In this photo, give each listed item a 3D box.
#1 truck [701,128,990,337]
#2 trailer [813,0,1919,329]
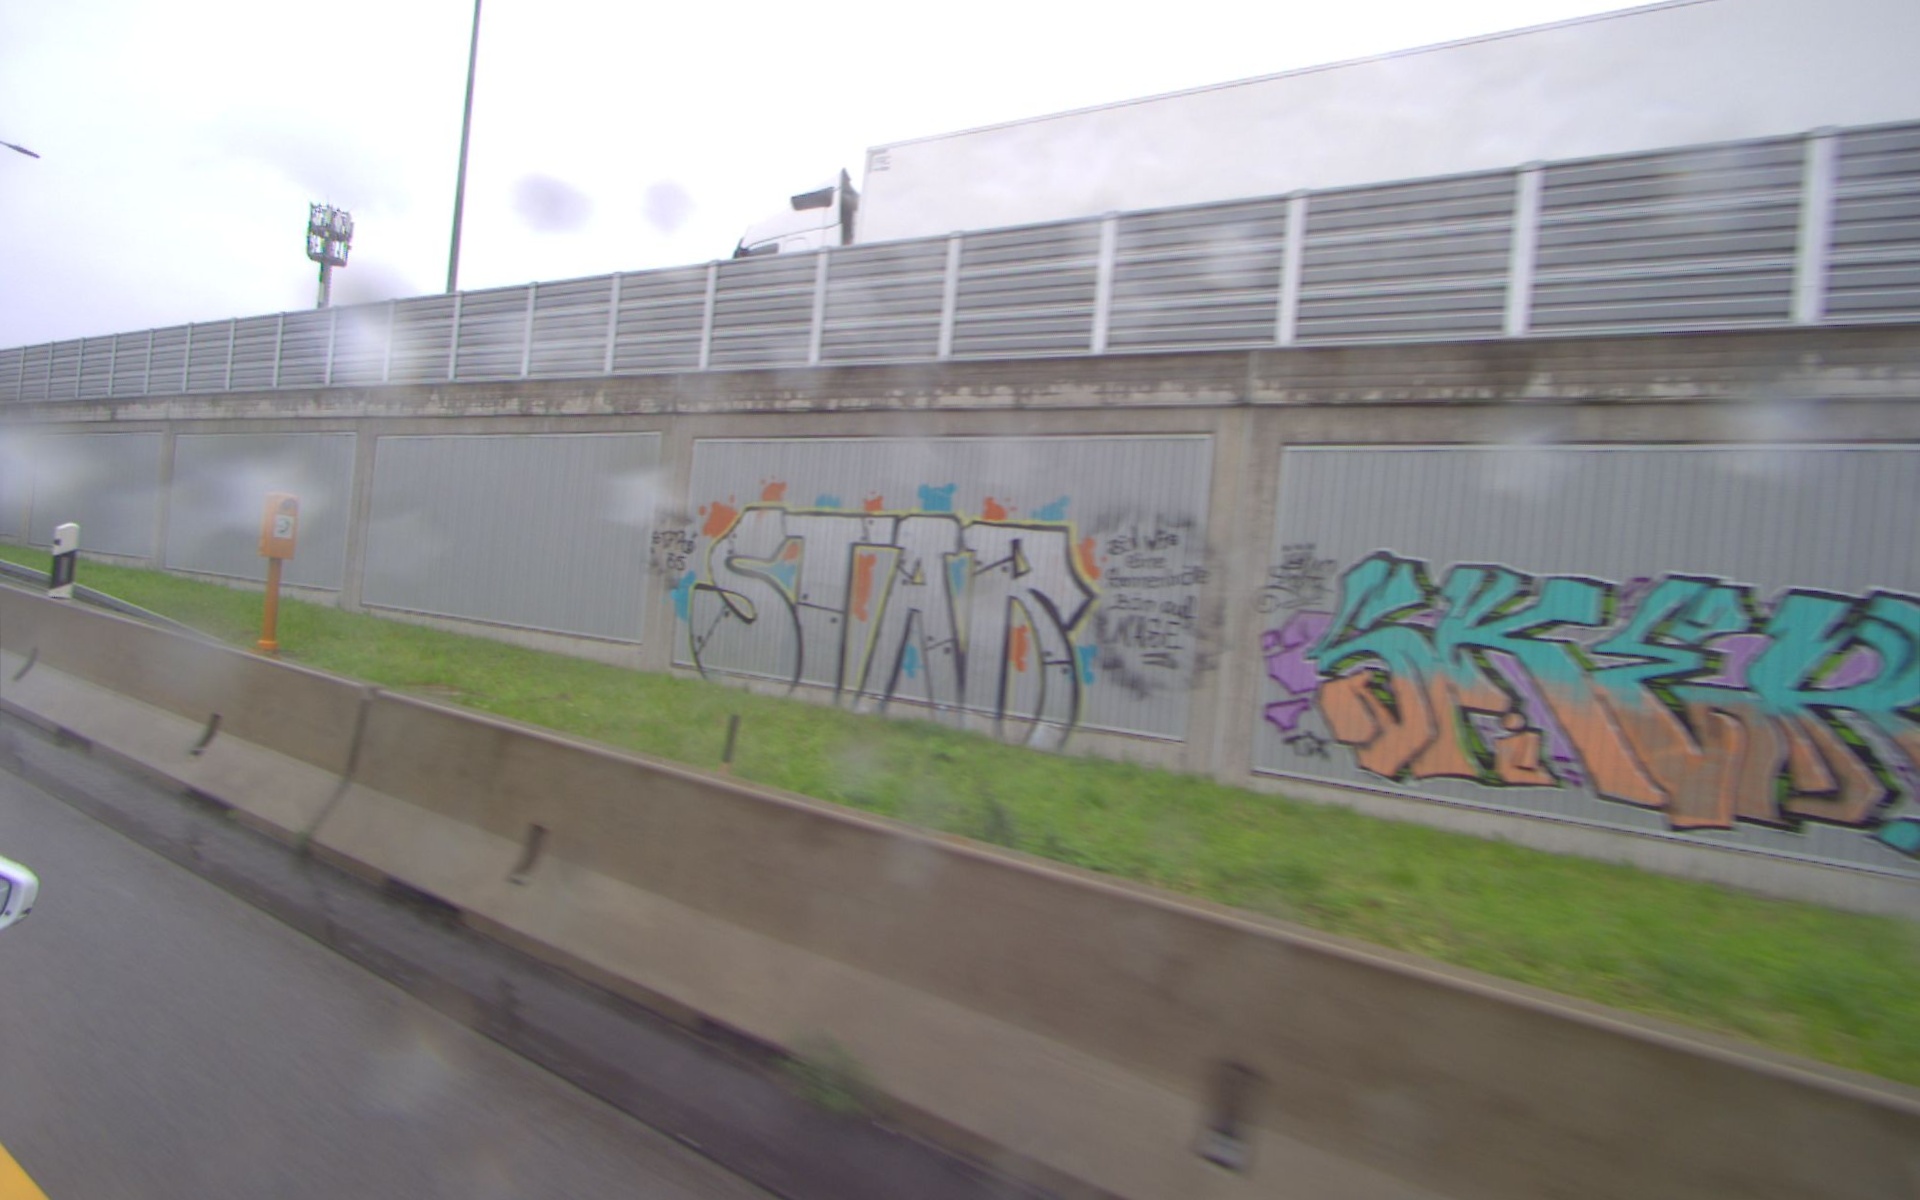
[{"bbox_3d":[-1.838,-5.613,15.896,3.992,2.037,1.997,5,-2,32],"label":"truck"},{"bbox_3d":[4.150,-5.124,12.154,13.544,2.131,1.996,5,-2,32],"label":"trailer"}]
